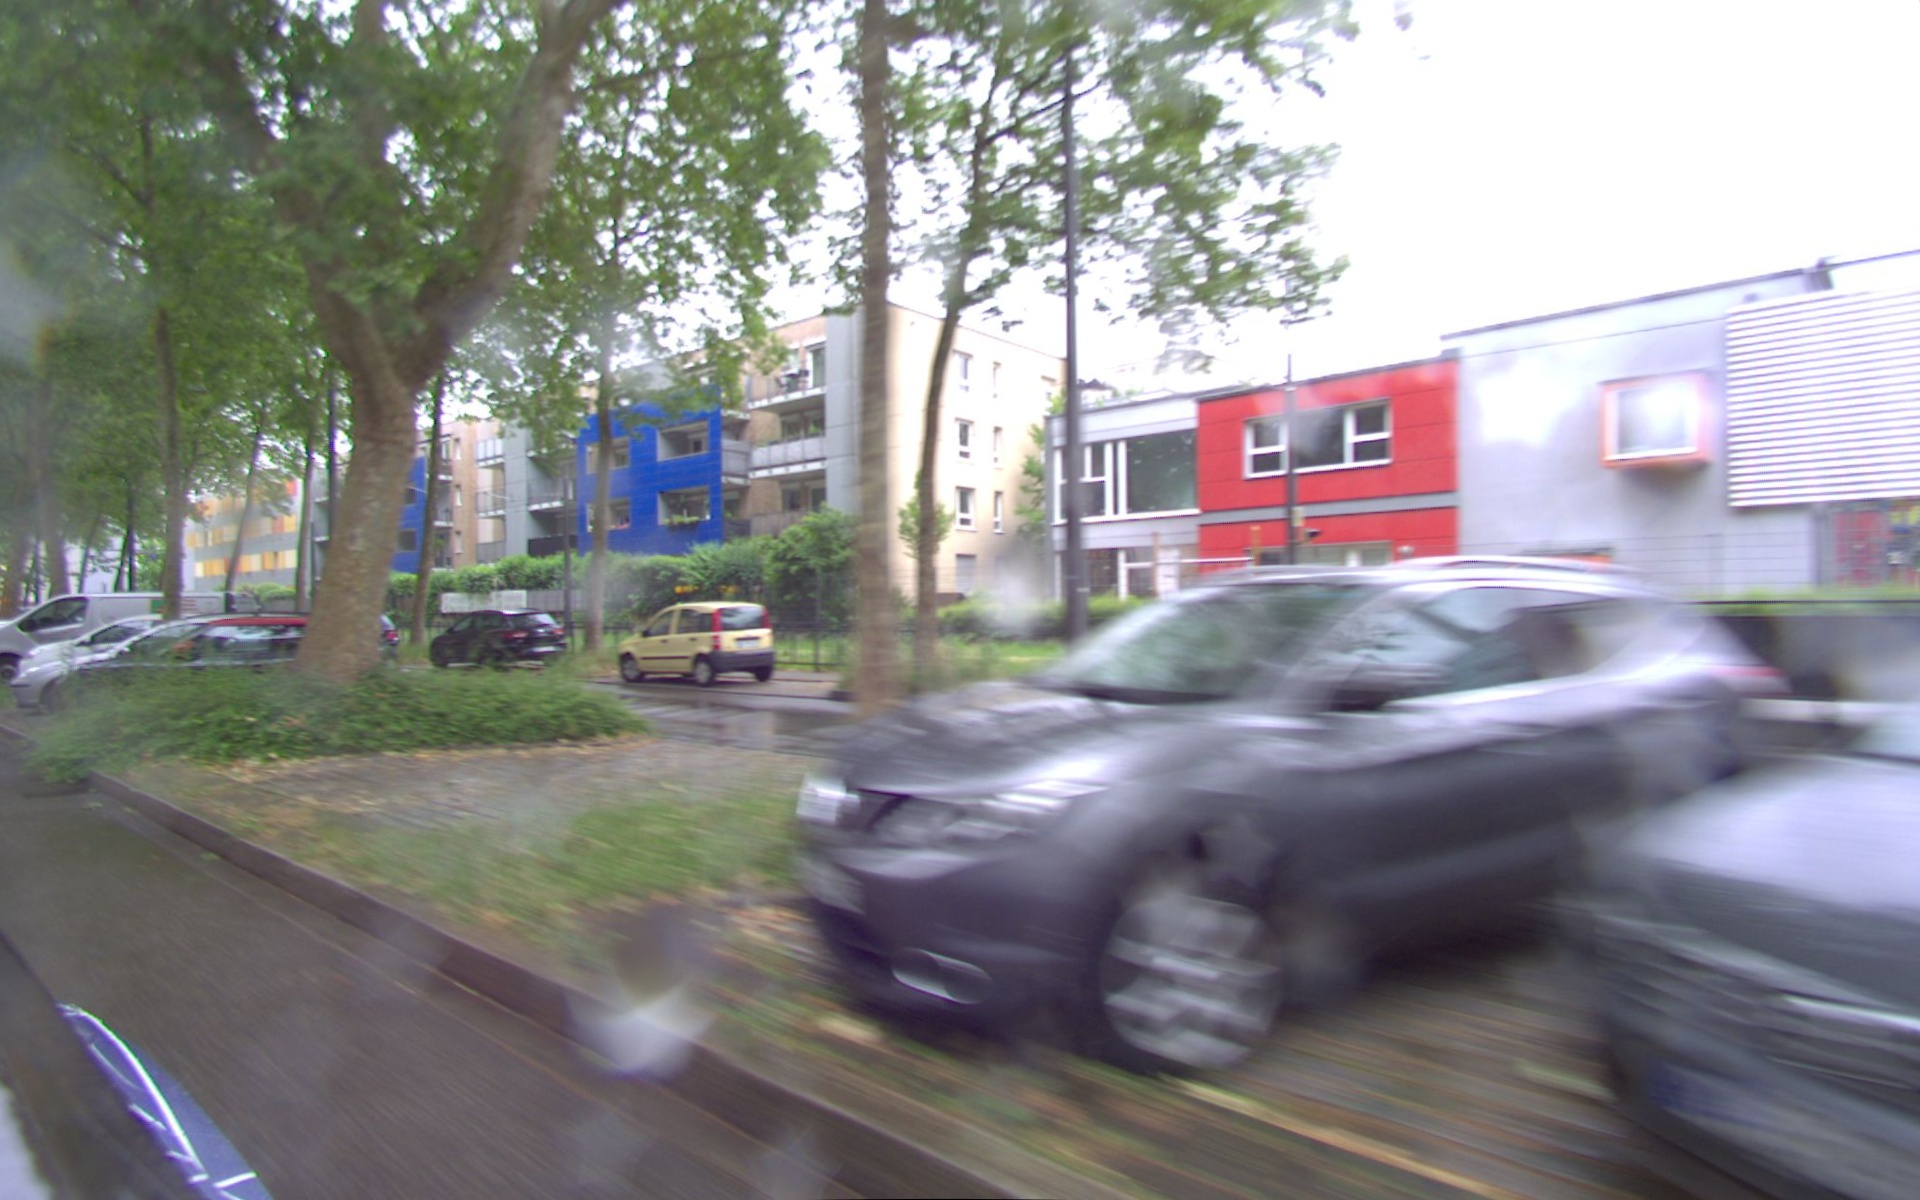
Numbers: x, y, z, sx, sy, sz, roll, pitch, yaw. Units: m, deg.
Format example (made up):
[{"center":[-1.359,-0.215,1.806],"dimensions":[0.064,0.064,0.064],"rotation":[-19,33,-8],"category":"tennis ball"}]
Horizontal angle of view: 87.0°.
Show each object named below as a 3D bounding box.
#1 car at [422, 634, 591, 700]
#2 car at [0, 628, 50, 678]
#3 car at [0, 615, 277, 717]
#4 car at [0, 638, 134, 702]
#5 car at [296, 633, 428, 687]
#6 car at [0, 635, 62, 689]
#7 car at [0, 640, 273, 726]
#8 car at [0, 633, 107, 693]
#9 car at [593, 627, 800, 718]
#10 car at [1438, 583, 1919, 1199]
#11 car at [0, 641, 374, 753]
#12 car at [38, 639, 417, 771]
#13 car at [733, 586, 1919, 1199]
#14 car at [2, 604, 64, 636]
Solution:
[{"center":[-11.061,1.589,24.595],"dimensions":[4.265,1.431,1.975],"rotation":[-2,-2,37],"category":"car"},{"center":[-34.060,1.774,34.302],"dimensions":[4.342,1.658,1.878],"rotation":[1,-2,-19],"category":"car"},{"center":[-17.659,1.321,21.294],"dimensions":[5.043,1.992,2.109],"rotation":[1,-2,-19],"category":"car"},{"center":[-23.733,1.774,25.468],"dimensions":[4.241,1.448,1.753],"rotation":[-2,-1,-24],"category":"car"},{"center":[-18.259,1.775,30.868],"dimensions":[3.982,1.431,1.977],"rotation":[-1,0,34],"category":"car"},{"center":[-31.900,2.005,32.389],"dimensions":[4.341,1.672,1.936],"rotation":[0,-1,-22],"category":"car"},{"center":[-15.679,1.542,19.492],"dimensions":[3.721,1.493,1.728],"rotation":[0,-2,-19],"category":"car"},{"center":[-25.883,1.732,27.348],"dimensions":[3.999,1.510,1.753],"rotation":[-1,-1,-27],"category":"car"},{"center":[-5.165,1.312,19.638],"dimensions":[3.997,1.519,1.973],"rotation":[-1,-1,40],"category":"car"},{"center":[3.636,0.758,2.290],"dimensions":[4.482,1.532,1.929],"rotation":[0,-2,-18],"category":"car"},{"center":[-11.630,1.387,15.366],"dimensions":[4.482,1.493,1.780],"rotation":[1,-2,-20],"category":"car"},{"center":[-9.520,1.311,13.527],"dimensions":[3.752,1.532,1.728],"rotation":[0,-2,-19],"category":"car"},{"center":[1.491,0.800,4.109],"dimensions":[4.395,1.609,1.929],"rotation":[-1,-1,-24],"category":"car"},{"center":[-62.505,1.370,68.211],"dimensions":[5.424,2.012,2.035],"rotation":[-2,1,36],"category":"car"}]
